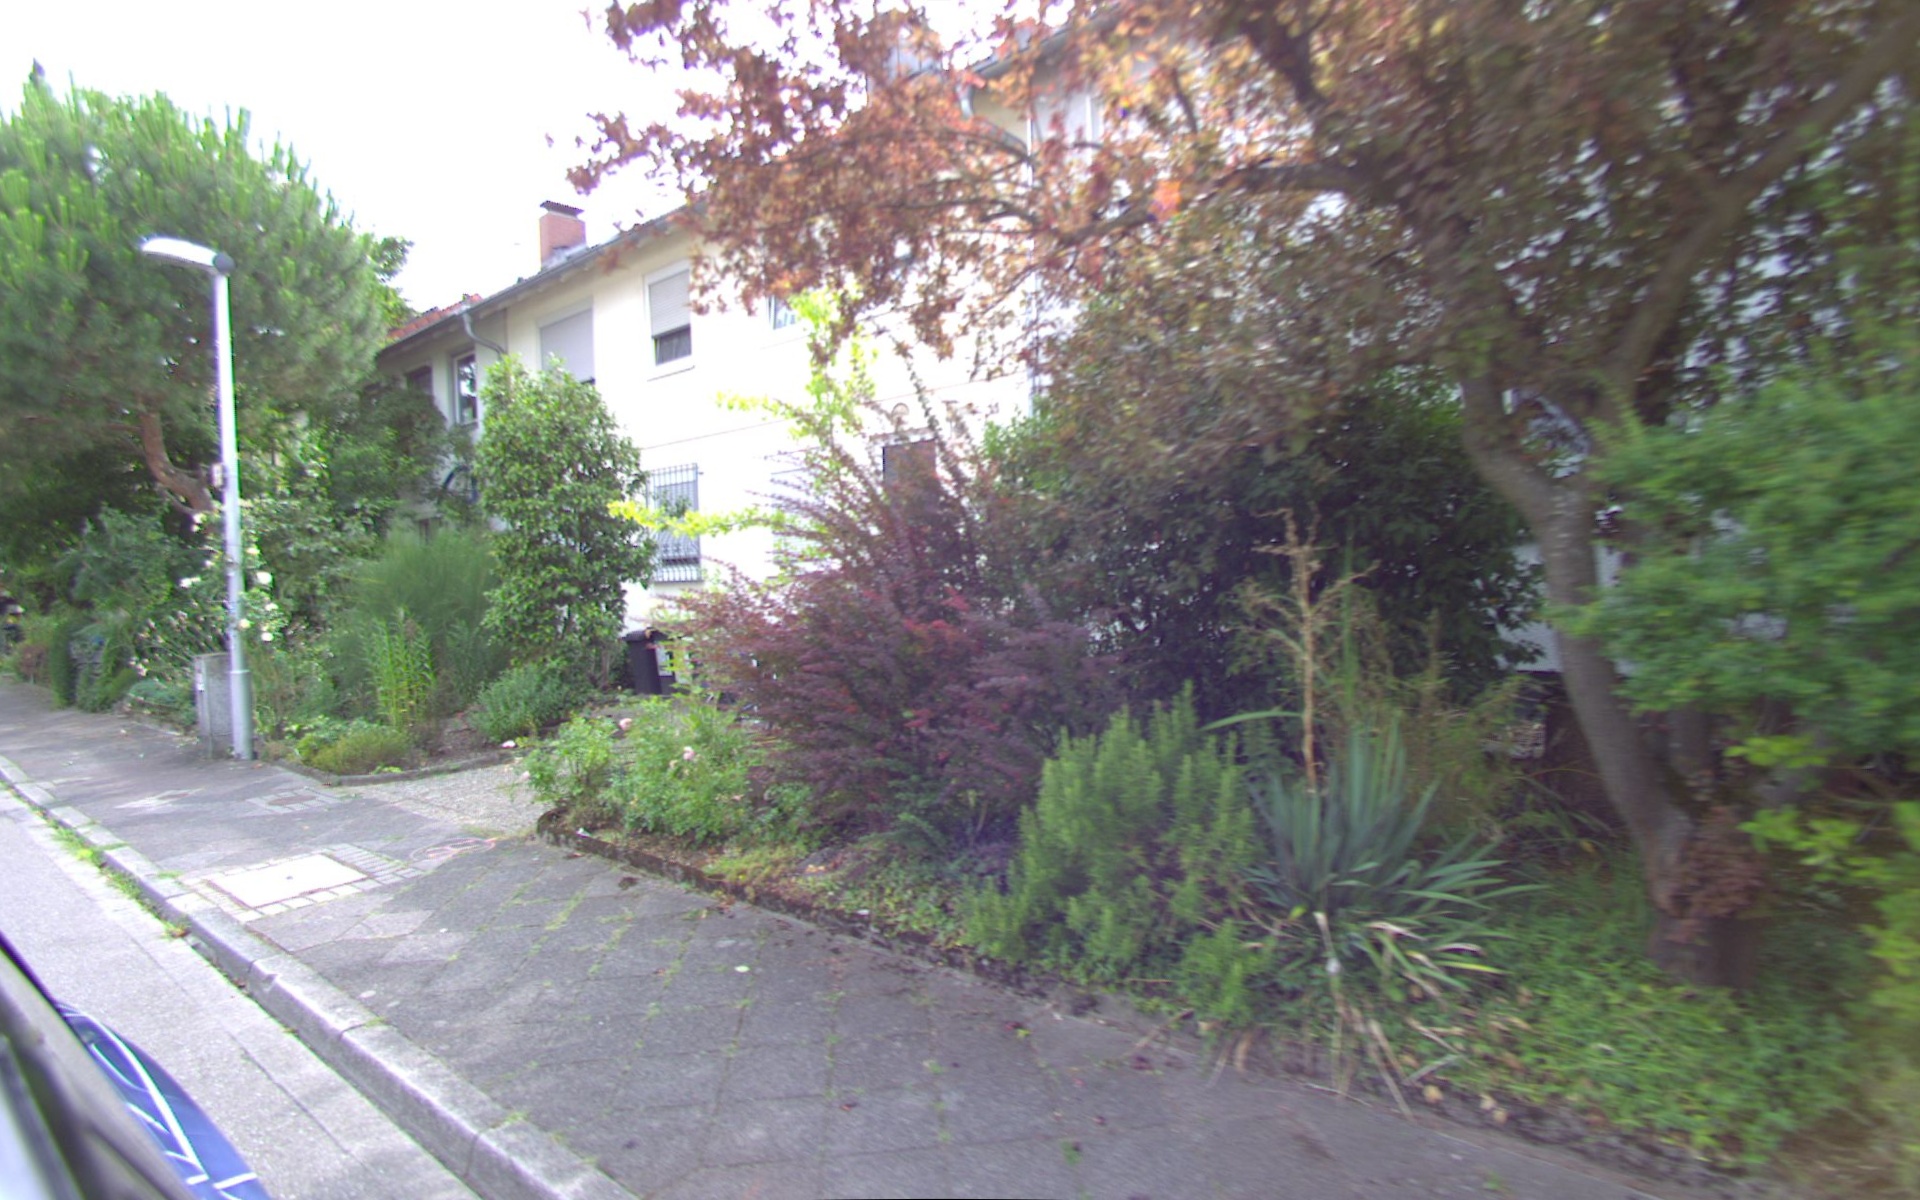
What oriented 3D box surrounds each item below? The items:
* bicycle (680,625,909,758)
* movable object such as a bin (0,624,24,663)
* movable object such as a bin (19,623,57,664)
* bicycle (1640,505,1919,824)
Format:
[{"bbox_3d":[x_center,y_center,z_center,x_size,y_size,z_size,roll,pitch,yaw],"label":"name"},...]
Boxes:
[{"bbox_3d":[-1.285,0.696,7.955,1.676,0.899,0.530,-3,0,-8],"label":"bicycle"},{"bbox_3d":[-26.987,1.218,28.597,0.821,1.079,0.697,-1,0,40],"label":"movable object such as a bin"},{"bbox_3d":[-26.549,1.252,29.143,0.877,1.138,0.697,-1,0,40],"label":"movable object such as a bin"},{"bbox_3d":[4.283,0.280,4.663,1.847,1.406,0.427,-1,1,42],"label":"bicycle"}]
